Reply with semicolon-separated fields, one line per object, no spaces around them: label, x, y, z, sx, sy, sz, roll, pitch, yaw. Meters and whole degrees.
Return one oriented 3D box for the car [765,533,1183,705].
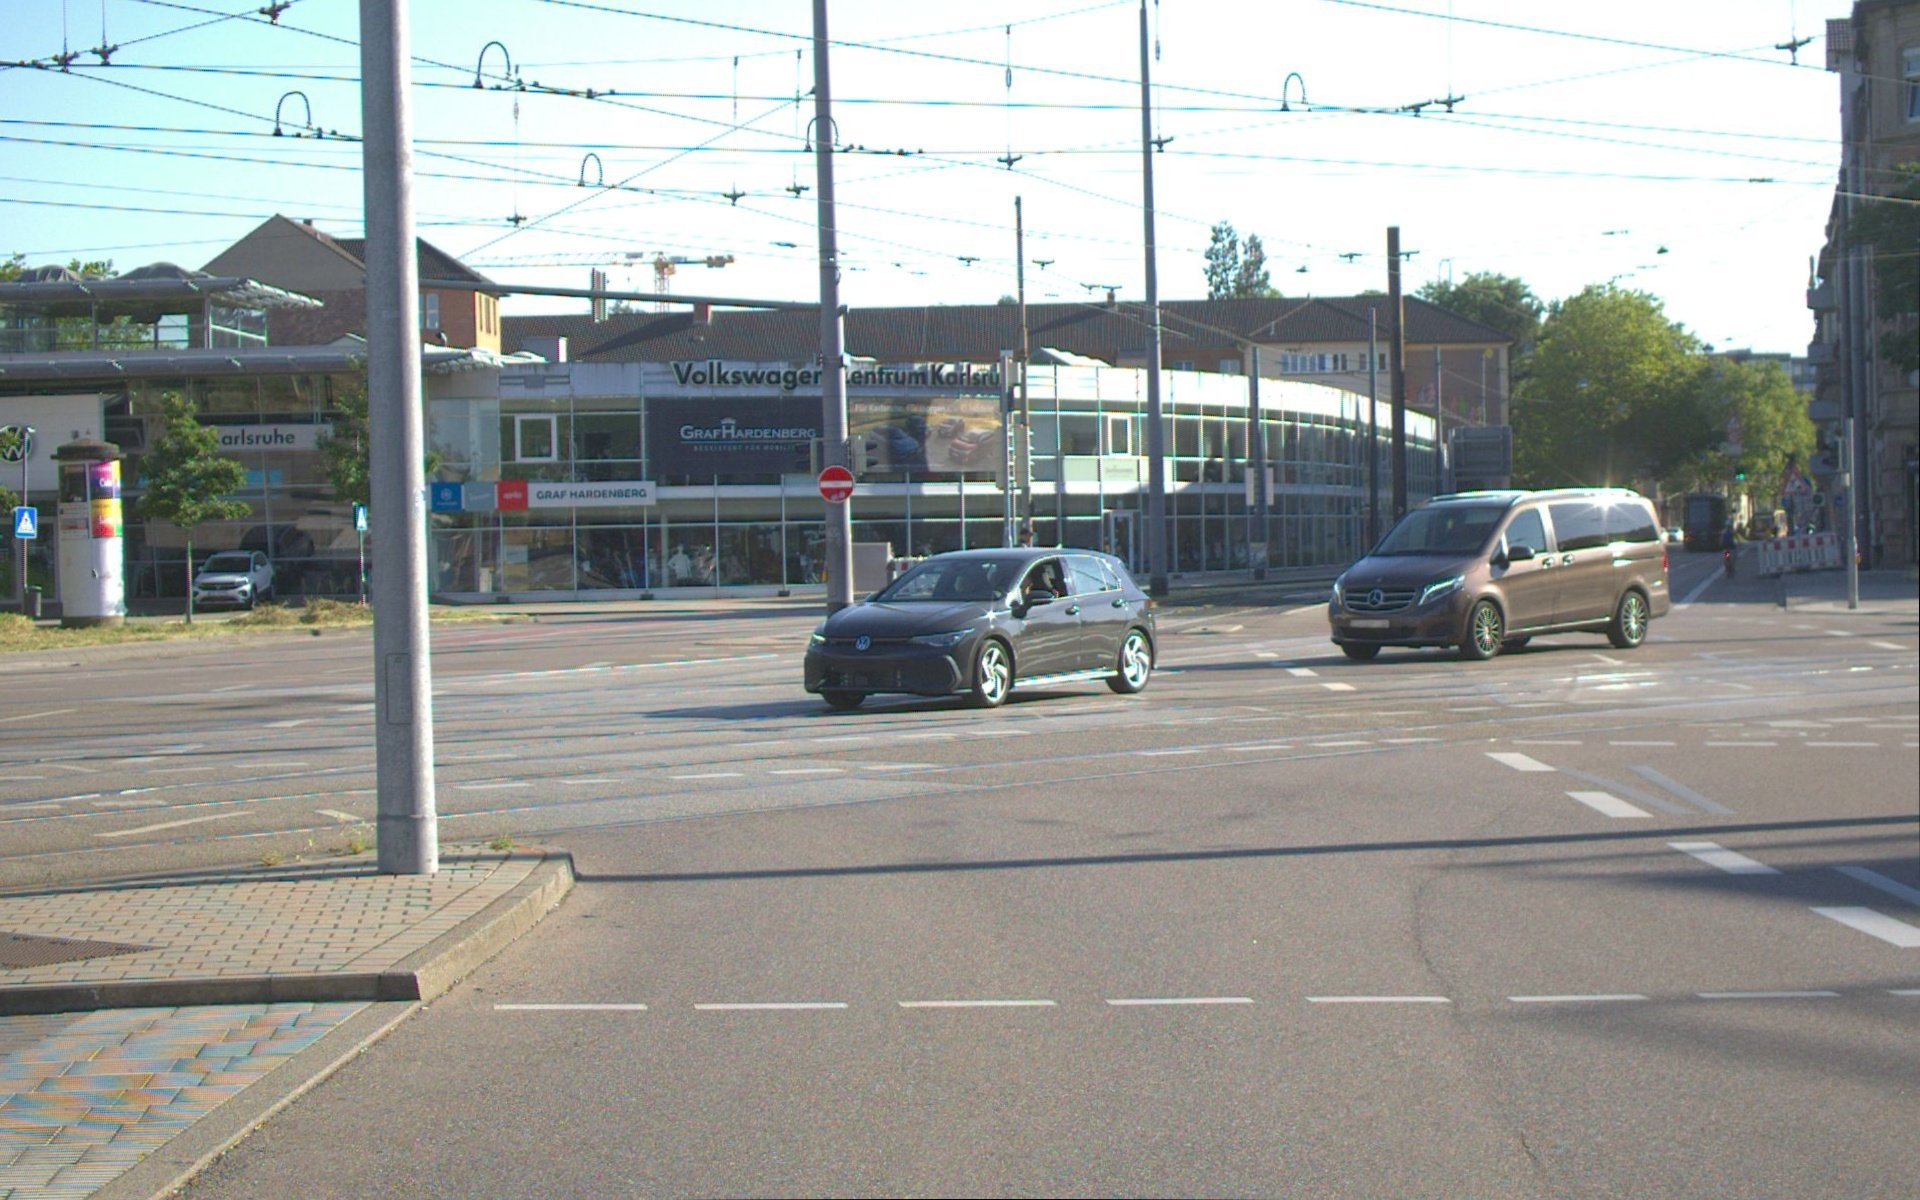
car;0.197;0.137;32.463;1.951;1.481;4.094;0;1;35

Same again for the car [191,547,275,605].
car;-21.274;-0.732;100.755;1.993;1.529;4.001;0;3;-6

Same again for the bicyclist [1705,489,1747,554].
bicyclist;22.543;-2.313;101.164;1.120;1.894;1.073;1;3;17

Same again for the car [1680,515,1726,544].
car;44.738;-4.235;207.034;1.801;1.650;3.918;0;3;-2

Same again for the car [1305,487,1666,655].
car;6.341;-0.381;41.066;1.952;1.887;4.839;0;1;41

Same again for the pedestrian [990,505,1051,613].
pedestrian;1.032;-0.706;58.524;0.989;1.810;0.920;0;2;-2

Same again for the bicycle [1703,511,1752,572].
bicycle;22.540;-1.735;100.933;1.136;1.684;3.997;1;3;16
